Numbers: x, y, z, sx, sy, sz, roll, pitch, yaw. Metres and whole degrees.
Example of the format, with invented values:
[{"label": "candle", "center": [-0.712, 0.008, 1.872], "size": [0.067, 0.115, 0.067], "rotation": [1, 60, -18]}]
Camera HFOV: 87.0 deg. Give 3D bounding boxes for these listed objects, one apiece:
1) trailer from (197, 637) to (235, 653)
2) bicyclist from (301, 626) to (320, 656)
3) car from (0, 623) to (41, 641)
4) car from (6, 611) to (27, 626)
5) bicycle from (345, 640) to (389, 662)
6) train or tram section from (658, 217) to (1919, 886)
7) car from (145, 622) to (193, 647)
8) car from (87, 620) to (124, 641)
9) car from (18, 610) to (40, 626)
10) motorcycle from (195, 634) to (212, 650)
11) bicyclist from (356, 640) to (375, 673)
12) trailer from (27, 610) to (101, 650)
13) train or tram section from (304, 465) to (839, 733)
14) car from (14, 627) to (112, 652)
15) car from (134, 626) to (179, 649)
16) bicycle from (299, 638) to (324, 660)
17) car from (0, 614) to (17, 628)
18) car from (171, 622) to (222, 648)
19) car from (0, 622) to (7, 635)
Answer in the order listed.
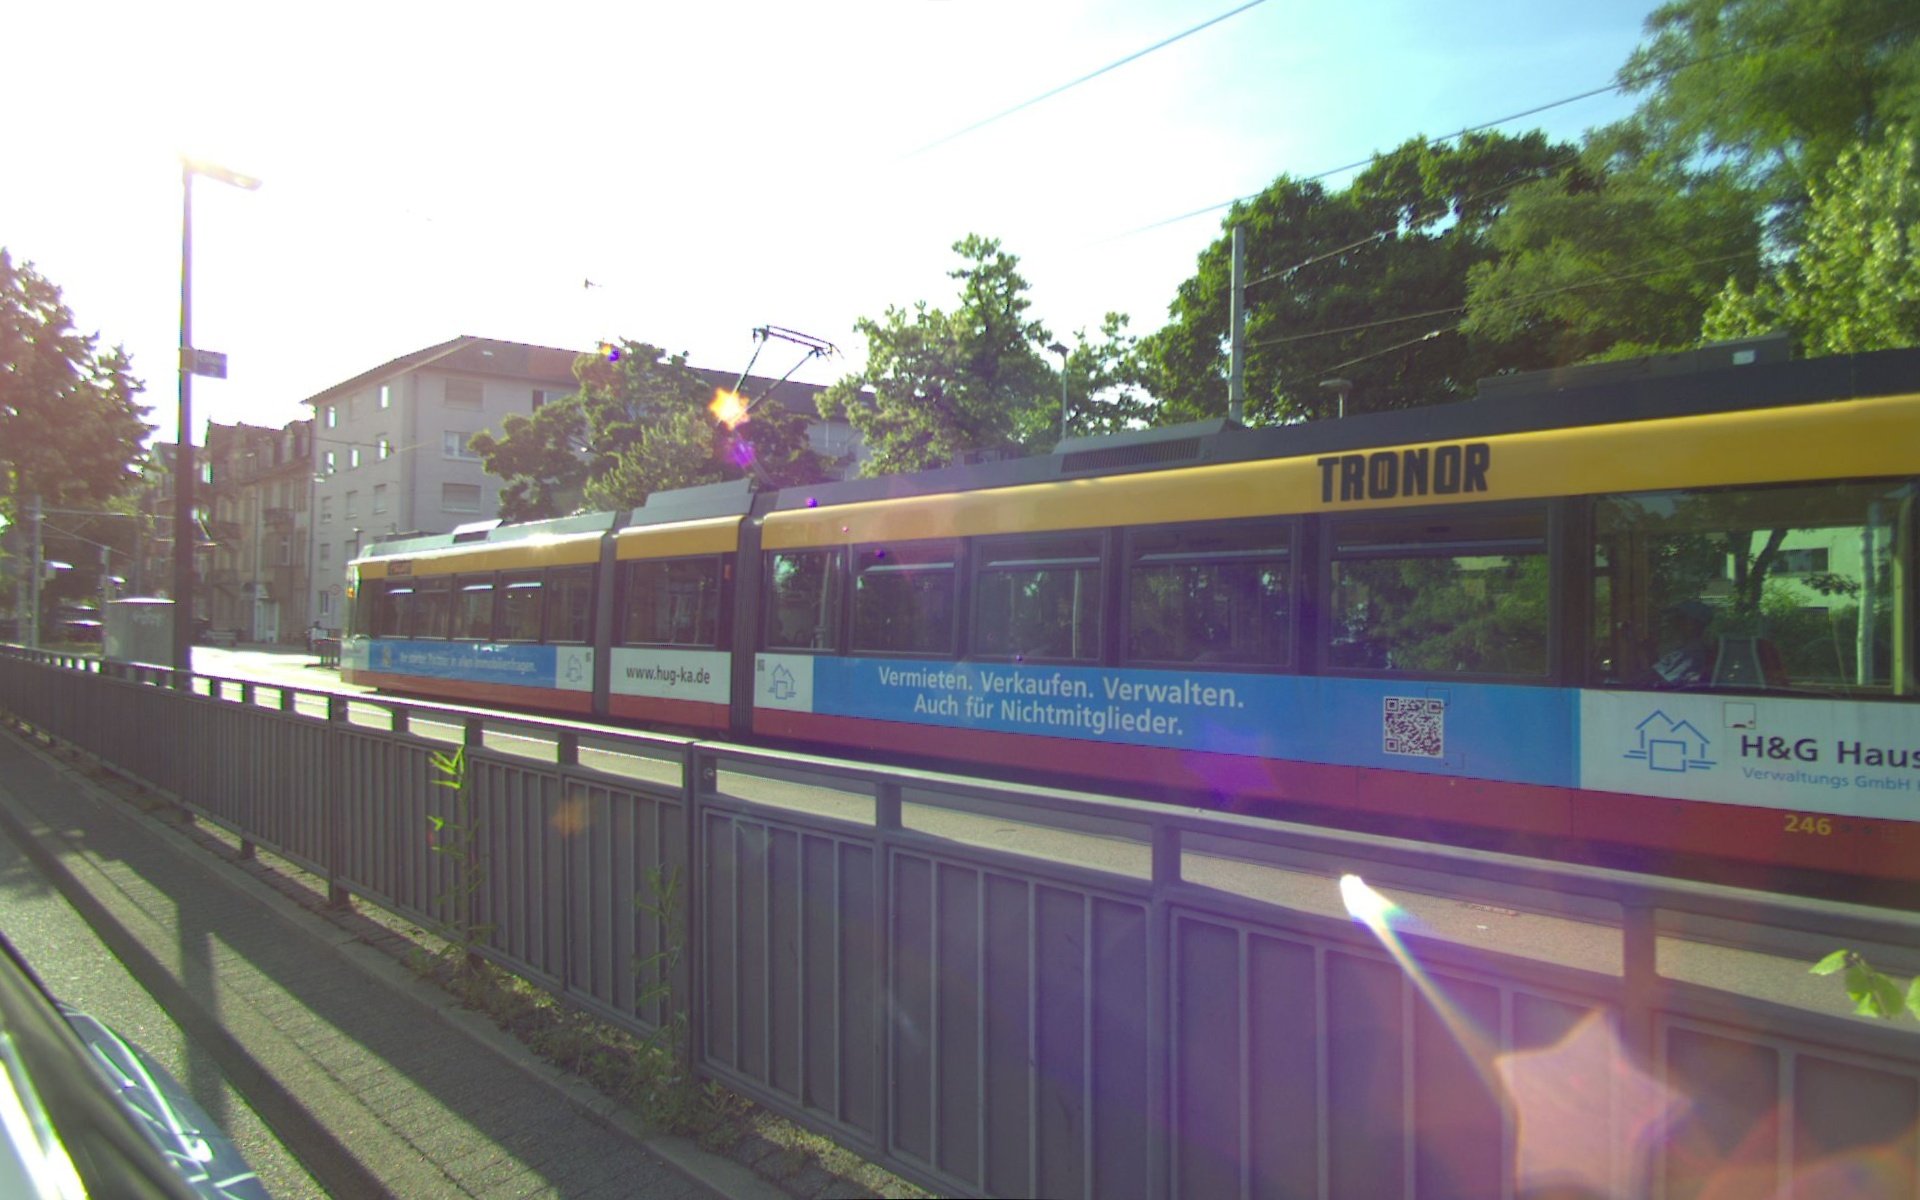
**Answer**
[{"label": "trailer", "center": [-48.689, 2.908, 66.236], "size": [2.879, 0.903, 1.425], "rotation": [-2, 1, 42]}, {"label": "bicyclist", "center": [-31.587, 1.985, 49.219], "size": [0.717, 1.424, 0.643], "rotation": [-2, -2, 44]}, {"label": "car", "center": [-78.223, 2.603, 82.647], "size": [4.205, 1.433, 2.175], "rotation": [0, -2, -7]}, {"label": "car", "center": [-134.229, 2.626, 143.980], "size": [4.002, 2.029, 1.971], "rotation": [-2, -2, 45]}, {"label": "bicycle", "center": [-30.448, 2.635, 51.963], "size": [1.883, 1.119, 0.737], "rotation": [2, -2, -28]}, {"label": "train or tram section", "center": [2.497, -0.139, 9.625], "size": [14.465, 3.506, 3.128], "rotation": [-2, -2, 41]}, {"label": "car", "center": [-58.564, 2.543, 74.913], "size": [4.611, 1.763, 2.141], "rotation": [-2, -2, 44]}, {"label": "car", "center": [-78.195, 2.777, 92.610], "size": [4.611, 1.915, 2.141], "rotation": [-2, -2, 44]}, {"label": "car", "center": [-125.622, 2.466, 136.540], "size": [4.002, 2.029, 1.971], "rotation": [-2, -2, 45]}, {"label": "motorcycle", "center": [-50.684, 2.798, 67.784], "size": [1.734, 1.088, 0.628], "rotation": [-2, -2, 44]}, {"label": "bicyclist", "center": [-30.507, 2.892, 51.929], "size": [0.760, 1.655, 0.797], "rotation": [2, -3, -28]}, {"label": "trailer", "center": [-54.117, 1.807, 61.180], "size": [2.817, 2.410, 1.728], "rotation": [0, -2, -17]}, {"label": "train or tram section", "center": [-8.332, 0.148, 19.239], "size": [14.525, 3.506, 3.128], "rotation": [-2, -2, 41]}, {"label": "car", "center": [-51.967, 2.292, 58.689], "size": [3.888, 1.370, 1.677], "rotation": [1, -2, -12]}, {"label": "car", "center": [-62.529, 2.885, 78.752], "size": [4.611, 1.763, 2.141], "rotation": [-2, -2, 44]}, {"label": "bicycle", "center": [-31.508, 2.384, 49.183], "size": [2.251, 1.026, 0.536], "rotation": [-2, -2, 45]}, {"label": "car", "center": [-143.265, 3.144, 151.994], "size": [3.998, 2.029, 1.973], "rotation": [-2, -2, 41]}, {"label": "car", "center": [-53.426, 2.417, 70.766], "size": [4.719, 1.763, 2.141], "rotation": [-2, -2, 44]}, {"label": "car", "center": [-159.560, 4.754, 167.733], "size": [3.998, 2.029, 1.973], "rotation": [-2, -2, 41]}]
